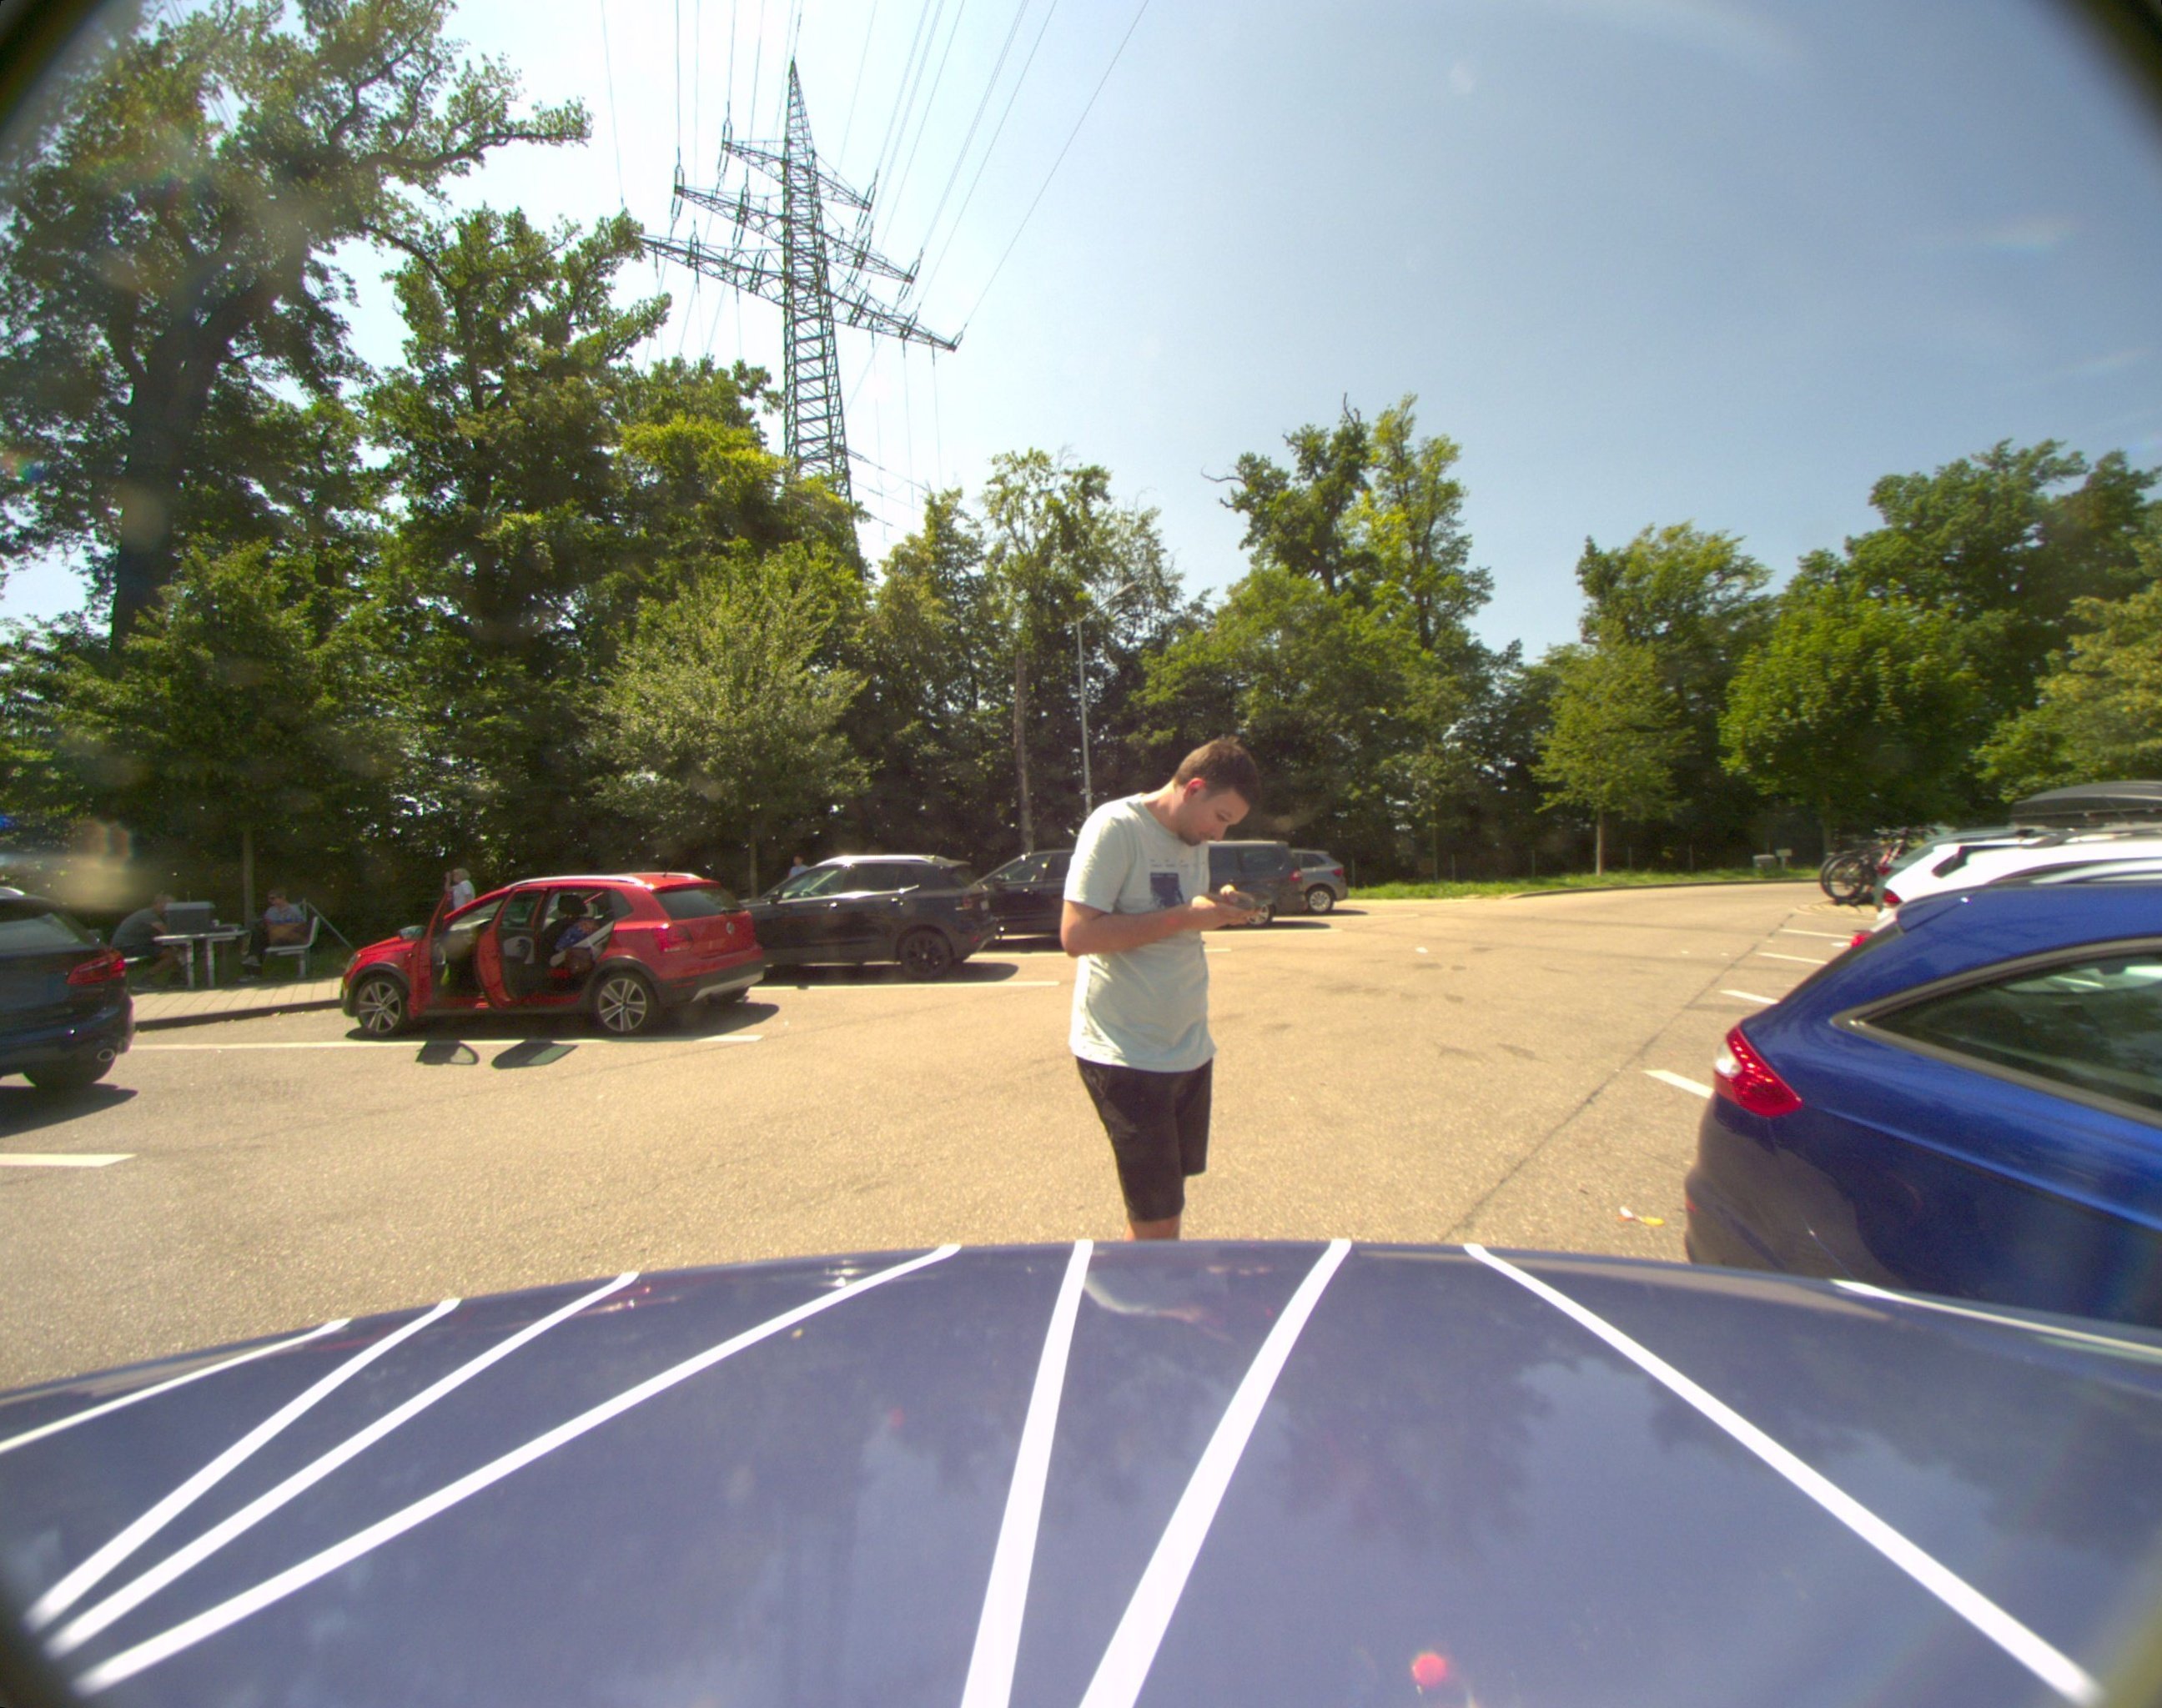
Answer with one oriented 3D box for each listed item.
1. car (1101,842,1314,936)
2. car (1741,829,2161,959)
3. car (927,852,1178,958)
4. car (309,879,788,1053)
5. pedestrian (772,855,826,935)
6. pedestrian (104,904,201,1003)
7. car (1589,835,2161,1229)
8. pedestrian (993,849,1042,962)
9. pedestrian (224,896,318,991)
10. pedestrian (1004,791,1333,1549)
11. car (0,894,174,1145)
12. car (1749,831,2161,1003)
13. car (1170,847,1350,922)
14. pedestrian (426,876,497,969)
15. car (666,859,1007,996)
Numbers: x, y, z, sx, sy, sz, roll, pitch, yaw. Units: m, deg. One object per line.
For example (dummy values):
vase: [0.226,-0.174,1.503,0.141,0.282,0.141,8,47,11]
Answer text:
car: [2.501,0.692,15.442,3.964,1.678,1.781,-2,0,7]
car: [12.357,0.474,10.934,1.779,1.456,4.470,-2,-1,0]
car: [-0.385,0.837,12.958,3.964,1.582,1.781,-2,0,8]
car: [-5.201,1.066,7.712,3.704,1.448,1.781,-2,0,7]
pedestrian: [-5.801,0.818,15.650,0.714,1.584,0.810,-2,0,3]
pedestrian: [-12.832,1.353,10.507,0.652,1.262,0.672,-2,0,24]
car: [4.898,0.654,3.708,1.779,1.456,4.470,-2,-1,0]
pedestrian: [-1.006,0.805,12.190,0.660,1.745,0.636,-2,0,1]
pedestrian: [-11.825,1.283,11.094,0.828,1.287,0.672,-2,0,24]
pedestrian: [0.201,0.723,2.015,0.687,1.699,0.578,-2,0,1]
car: [-8.927,1.150,4.994,4.011,1.558,1.846,-2,0,6]
car: [10.055,0.530,8.150,1.779,1.456,4.470,-2,-1,0]
car: [4.170,0.709,18.195,3.964,1.577,1.781,-2,0,7]
pedestrian: [-11.211,1.206,13.751,0.773,1.584,0.811,-2,0,38]
car: [-3.154,0.933,10.372,3.966,1.582,1.841,-2,0,3]
